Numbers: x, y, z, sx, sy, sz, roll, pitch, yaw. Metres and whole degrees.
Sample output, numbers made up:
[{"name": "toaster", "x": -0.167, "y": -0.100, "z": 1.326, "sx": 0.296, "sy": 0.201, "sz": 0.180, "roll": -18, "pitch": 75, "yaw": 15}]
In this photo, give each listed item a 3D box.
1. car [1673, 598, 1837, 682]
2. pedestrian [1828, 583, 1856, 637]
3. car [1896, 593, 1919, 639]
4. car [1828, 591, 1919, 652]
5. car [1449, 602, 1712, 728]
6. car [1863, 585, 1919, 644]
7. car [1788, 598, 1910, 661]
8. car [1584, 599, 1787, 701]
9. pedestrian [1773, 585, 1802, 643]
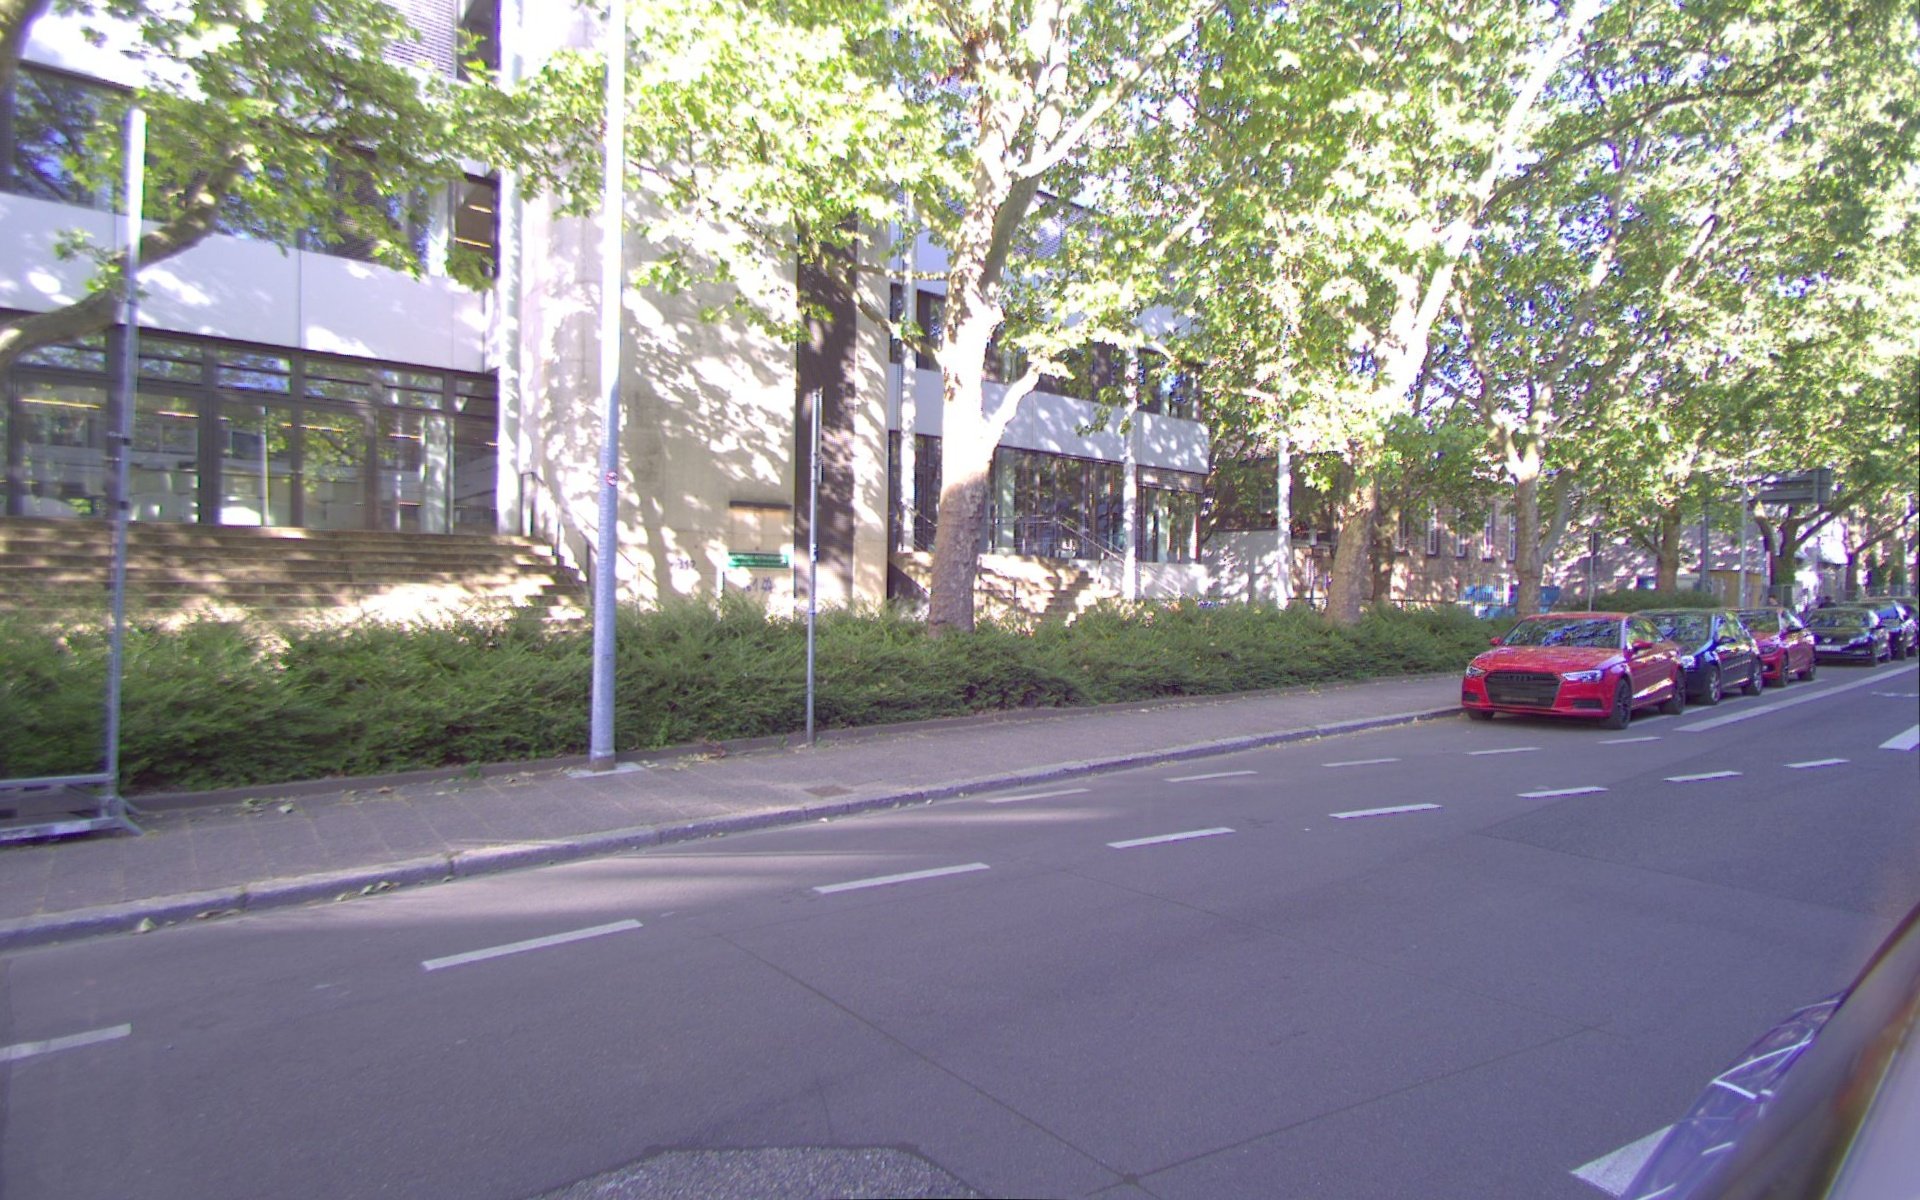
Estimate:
[{"name": "car", "x": 15.841, "y": 0.711, "z": 20.102, "sx": 4.095, "sy": 1.486, "sz": 1.834, "roll": 0, "pitch": 0, "yaw": -41}, {"name": "pedestrian", "x": 31.341, "y": 0.357, "z": 35.950, "sx": 0.629, "sy": 1.884, "sz": 0.660, "roll": 0, "pitch": 0, "yaw": -41}, {"name": "car", "x": 35.911, "y": 0.583, "z": 37.103, "sx": 4.183, "sy": 1.634, "sz": 1.834, "roll": 0, "pitch": 0, "yaw": -40}, {"name": "car", "x": 26.563, "y": 0.575, "z": 29.088, "sx": 4.088, "sy": 1.626, "sz": 1.834, "roll": 0, "pitch": 0, "yaw": -40}, {"name": "car", "x": 8.407, "y": 0.739, "z": 13.571, "sx": 4.173, "sy": 1.422, "sz": 1.834, "roll": 0, "pitch": 0, "yaw": -41}, {"name": "car", "x": 31.048, "y": 0.441, "z": 32.978, "sx": 4.383, "sy": 1.820, "sz": 1.834, "roll": 0, "pitch": 0, "yaw": -40}, {"name": "car", "x": 22.874, "y": 0.705, "z": 25.994, "sx": 4.095, "sy": 1.486, "sz": 1.834, "roll": 0, "pitch": 0, "yaw": -41}, {"name": "car", "x": 12.026, "y": 0.721, "z": 16.687, "sx": 4.095, "sy": 1.464, "sz": 1.834, "roll": 0, "pitch": 0, "yaw": -41}, {"name": "pedestrian", "x": 26.413, "y": 0.429, "z": 32.304, "sx": 0.583, "sy": 1.818, "sz": 0.600, "roll": 0, "pitch": 0, "yaw": -41}]
